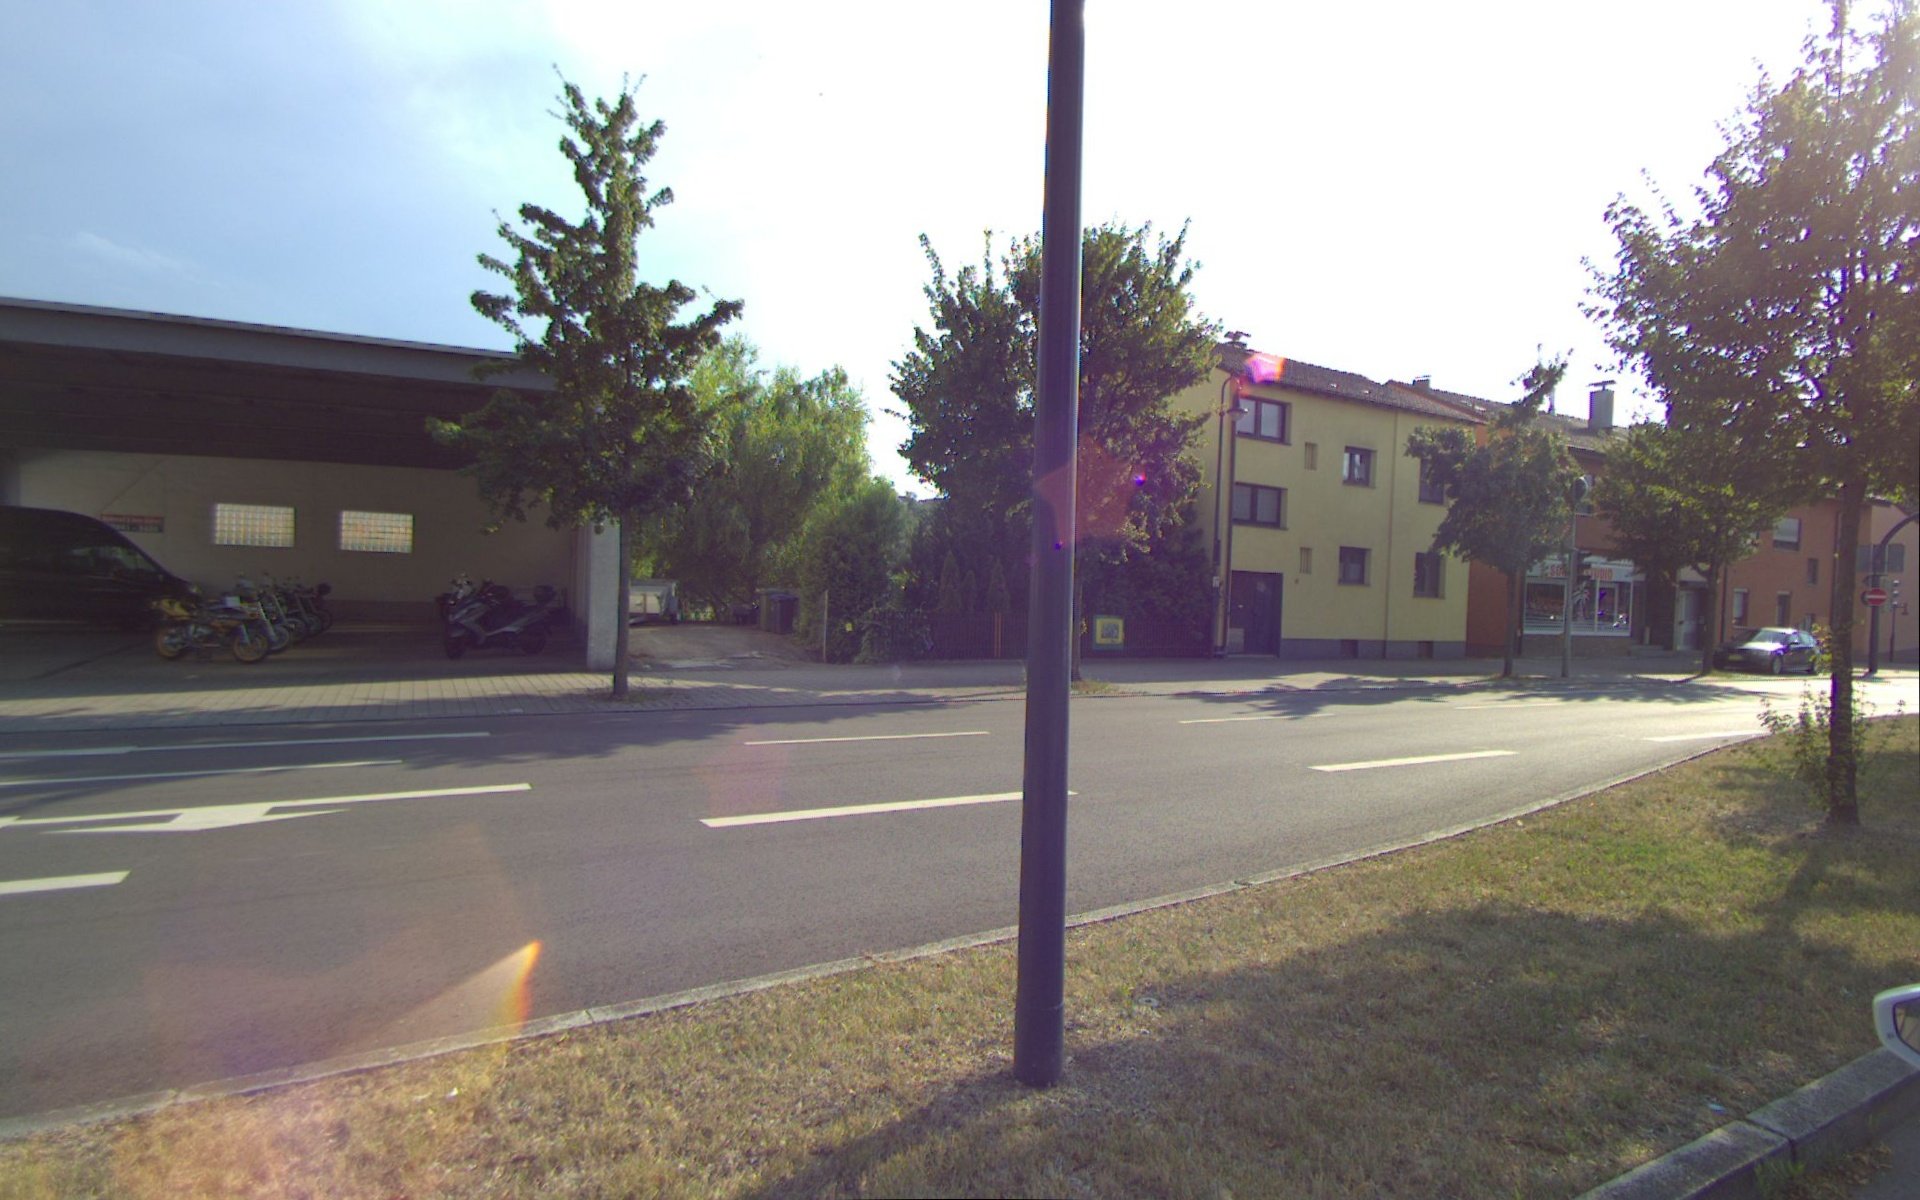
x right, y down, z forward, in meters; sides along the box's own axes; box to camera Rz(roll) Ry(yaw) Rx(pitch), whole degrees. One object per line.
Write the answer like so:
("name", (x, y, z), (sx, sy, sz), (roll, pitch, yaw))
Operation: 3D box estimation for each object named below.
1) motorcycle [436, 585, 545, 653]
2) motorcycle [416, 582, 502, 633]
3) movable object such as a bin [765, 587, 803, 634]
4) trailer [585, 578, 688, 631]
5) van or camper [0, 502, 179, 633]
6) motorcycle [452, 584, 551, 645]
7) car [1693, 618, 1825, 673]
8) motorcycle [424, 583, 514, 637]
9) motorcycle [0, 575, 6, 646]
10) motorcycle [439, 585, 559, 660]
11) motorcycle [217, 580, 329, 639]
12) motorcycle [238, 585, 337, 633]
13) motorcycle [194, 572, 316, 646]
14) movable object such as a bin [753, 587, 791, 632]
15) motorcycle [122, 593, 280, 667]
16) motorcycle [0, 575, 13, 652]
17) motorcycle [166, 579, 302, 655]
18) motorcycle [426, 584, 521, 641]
("motorcycle", (-9.672, 0.390, 20.774), (0.553, 1.325, 2.086), (1, 0, 30))
("motorcycle", (-13.516, 0.200, 27.162), (0.553, 1.325, 2.086), (1, 0, 30))
("movable object such as a bin", (-4.346, 0.264, 24.812), (0.688, 1.101, 0.727), (1, 3, -30))
("trailer", (-8.121, 0.062, 25.518), (1.692, 1.199, 3.594), (1, 1, -5))
("van or camper", (-20.467, -0.686, 21.931), (1.963, 2.716, 5.033), (1, 0, 26))
("motorcycle", (-10.484, 0.333, 23.040), (0.612, 1.325, 2.086), (1, 0, 30))
("car", (25.926, 1.468, 32.575), (3.949, 1.573, 1.836), (1, 2, -27))
("motorcycle", (-12.574, 0.266, 25.795), (0.553, 1.325, 2.086), (1, 0, 30))
("motorcycle", (-18.642, 0.180, 18.091), (0.637, 1.329, 2.007), (1, 0, 23))
("motorcycle", (-8.634, 0.414, 18.913), (0.553, 1.325, 2.112), (1, 0, 30))
("motorcycle", (-15.837, 0.218, 23.171), (2.111, 1.275, 0.647), (1, 0, 0))
("motorcycle", (-17.074, 0.230, 25.520), (2.111, 1.138, 0.563), (1, 0, 0))
("motorcycle", (-14.716, 0.184, 21.001), (2.111, 1.468, 0.594), (1, 0, 0))
("movable object such as a bin", (-4.787, 0.234, 25.583), (0.712, 1.101, 0.727), (1, 3, -30))
("motorcycle", (-12.515, 0.485, 16.591), (2.111, 1.139, 0.631), (1, 0, 0))
("motorcycle", (-17.247, 0.214, 16.763), (0.637, 1.329, 2.007), (1, 0, 23))
("motorcycle", (-13.552, 0.318, 18.769), (2.111, 1.347, 0.563), (1, 0, 0))
("motorcycle", (-11.807, 0.306, 24.452), (0.573, 1.325, 2.086), (1, 0, 30))
